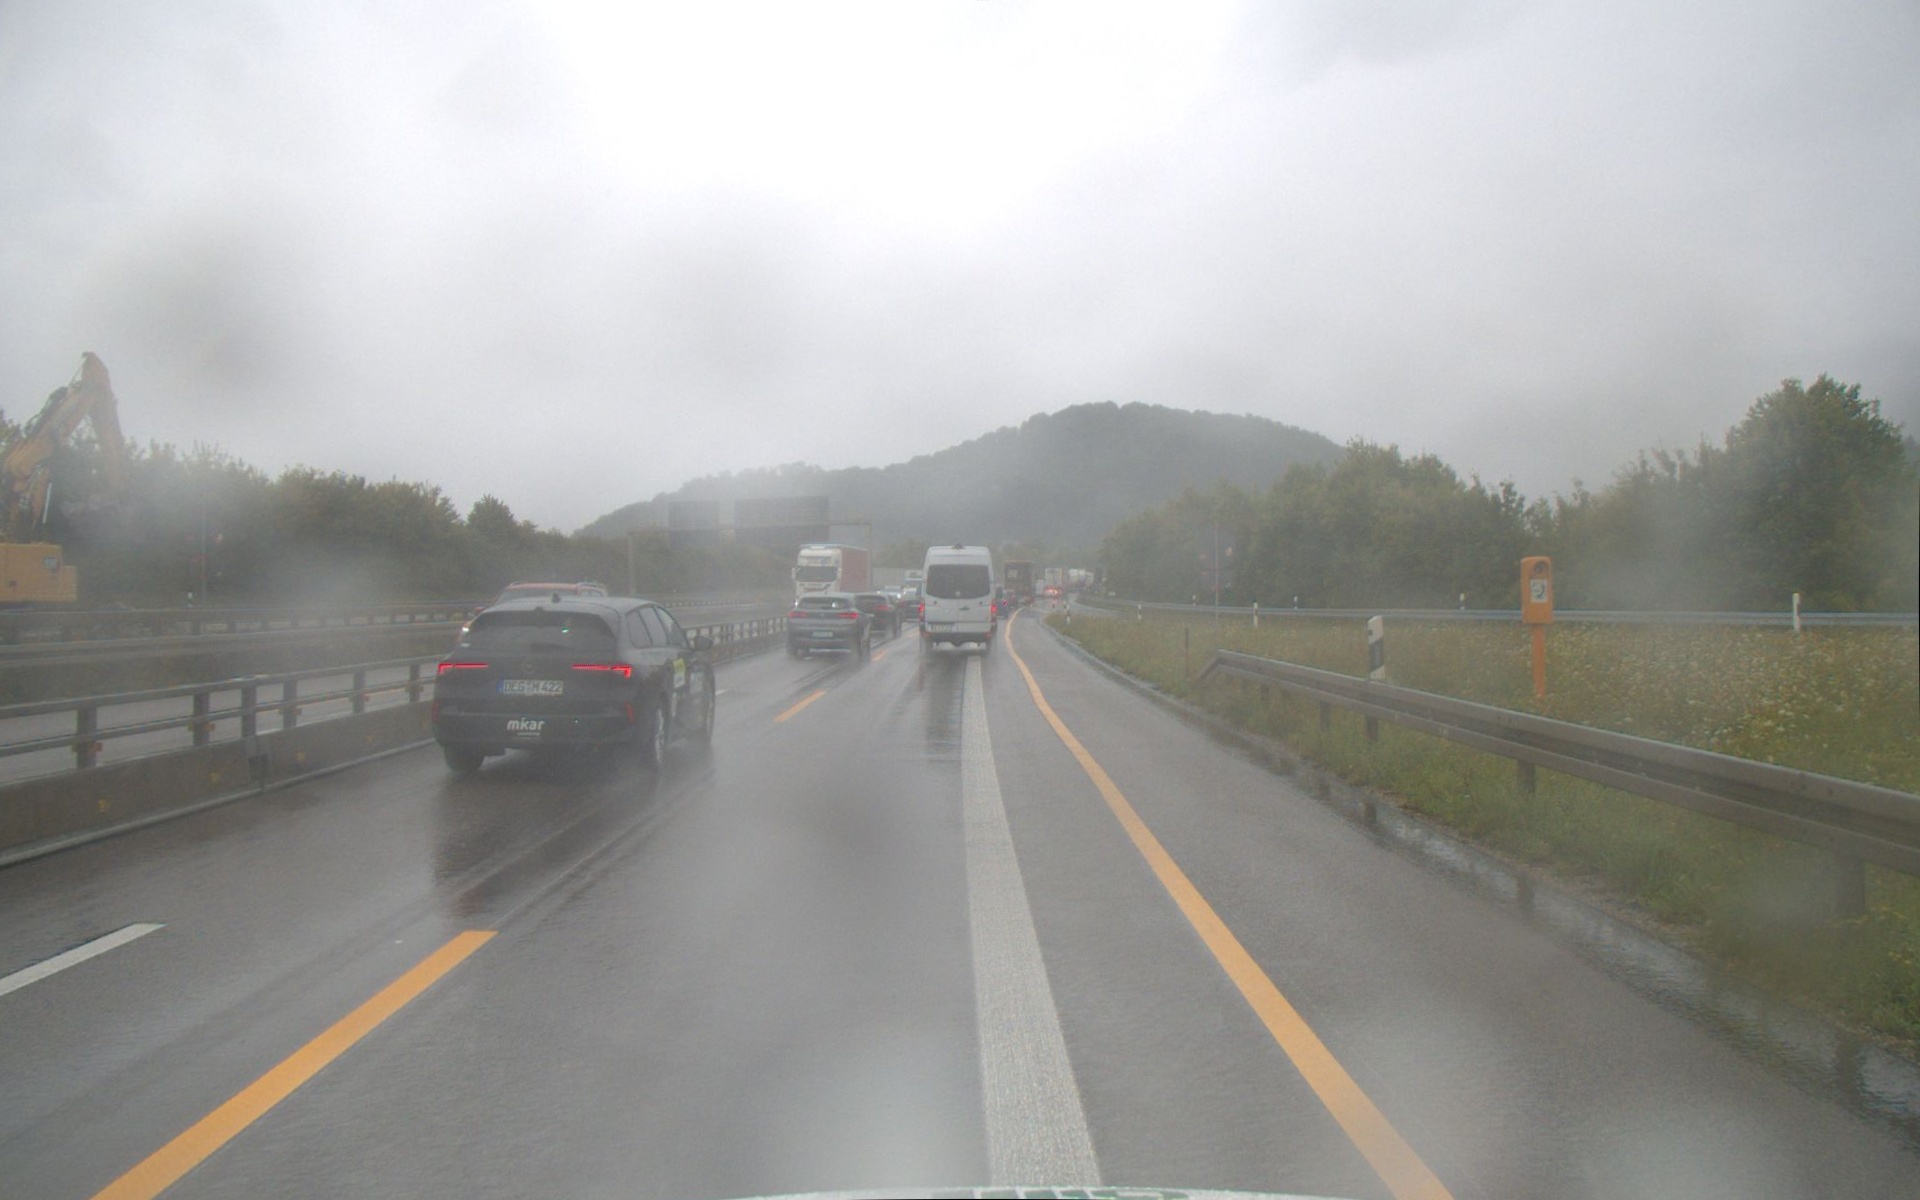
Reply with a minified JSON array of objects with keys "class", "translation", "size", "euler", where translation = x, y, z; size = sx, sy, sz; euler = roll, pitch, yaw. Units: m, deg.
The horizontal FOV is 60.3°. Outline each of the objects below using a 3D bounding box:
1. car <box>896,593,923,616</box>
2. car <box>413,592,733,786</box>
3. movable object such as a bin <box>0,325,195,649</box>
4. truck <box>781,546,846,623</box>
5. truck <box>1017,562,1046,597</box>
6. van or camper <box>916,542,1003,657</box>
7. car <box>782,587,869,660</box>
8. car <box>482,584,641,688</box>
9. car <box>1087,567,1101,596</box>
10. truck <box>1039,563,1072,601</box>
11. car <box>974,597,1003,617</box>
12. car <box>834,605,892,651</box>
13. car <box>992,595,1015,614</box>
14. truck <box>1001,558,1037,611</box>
[{"class":"car","translation":[-2.436,0.226,80.858],"size":[1.237,1.097,3.254],"euler":[0,0,0]},{"class":"car","translation":[-3.253,0.675,14.916],"size":[1.900,1.452,4.758],"euler":[1,0,-2]},{"class":"movable object such as a bin","translation":[-25.446,-2.914,46.530],"size":[3.521,8.286,8.310],"euler":[1,0,2]},{"class":"truck","translation":[-8.552,-0.886,97.504],"size":[2.945,4.347,6.802],"euler":[-1,0,2]},{"class":"truck","translation":[8.446,-2.399,196.864],"size":[3.251,3.827,9.909],"euler":[1,0,2]},{"class":"van or camper","translation":[-0.026,-0.014,42.313],"size":[2.096,2.769,4.647],"euler":[0,0,-1]},{"class":"car","translation":[-3.222,0.539,40.152],"size":[1.829,1.688,3.987],"euler":[0,0,-1]},{"class":"car","translation":[-6.813,0.588,28.732],"size":[1.765,1.621,4.183],"euler":[1,0,-1]},{"class":"car","translation":[19.969,-2.785,247.323],"size":[2.014,4.265,6.749],"euler":[0,0,4]},{"class":"truck","translation":[13.106,-2.439,227.099],"size":[3.845,4.868,9.913],"euler":[1,0,7]},{"class":"car","translation":[1.583,0.399,91.852],"size":[1.357,1.097,3.120],"euler":[0,0,-4]},{"class":"car","translation":[-3.357,0.953,57.595],"size":[1.814,1.527,3.999],"euler":[0,0,-1]},{"class":"car","translation":[2.920,0.285,112.242],"size":[1.356,1.278,3.121],"euler":[0,0,-2]},{"class":"truck","translation":[5.711,-1.391,159.748],"size":[3.251,4.868,9.909],"euler":[1,0,2]}]
